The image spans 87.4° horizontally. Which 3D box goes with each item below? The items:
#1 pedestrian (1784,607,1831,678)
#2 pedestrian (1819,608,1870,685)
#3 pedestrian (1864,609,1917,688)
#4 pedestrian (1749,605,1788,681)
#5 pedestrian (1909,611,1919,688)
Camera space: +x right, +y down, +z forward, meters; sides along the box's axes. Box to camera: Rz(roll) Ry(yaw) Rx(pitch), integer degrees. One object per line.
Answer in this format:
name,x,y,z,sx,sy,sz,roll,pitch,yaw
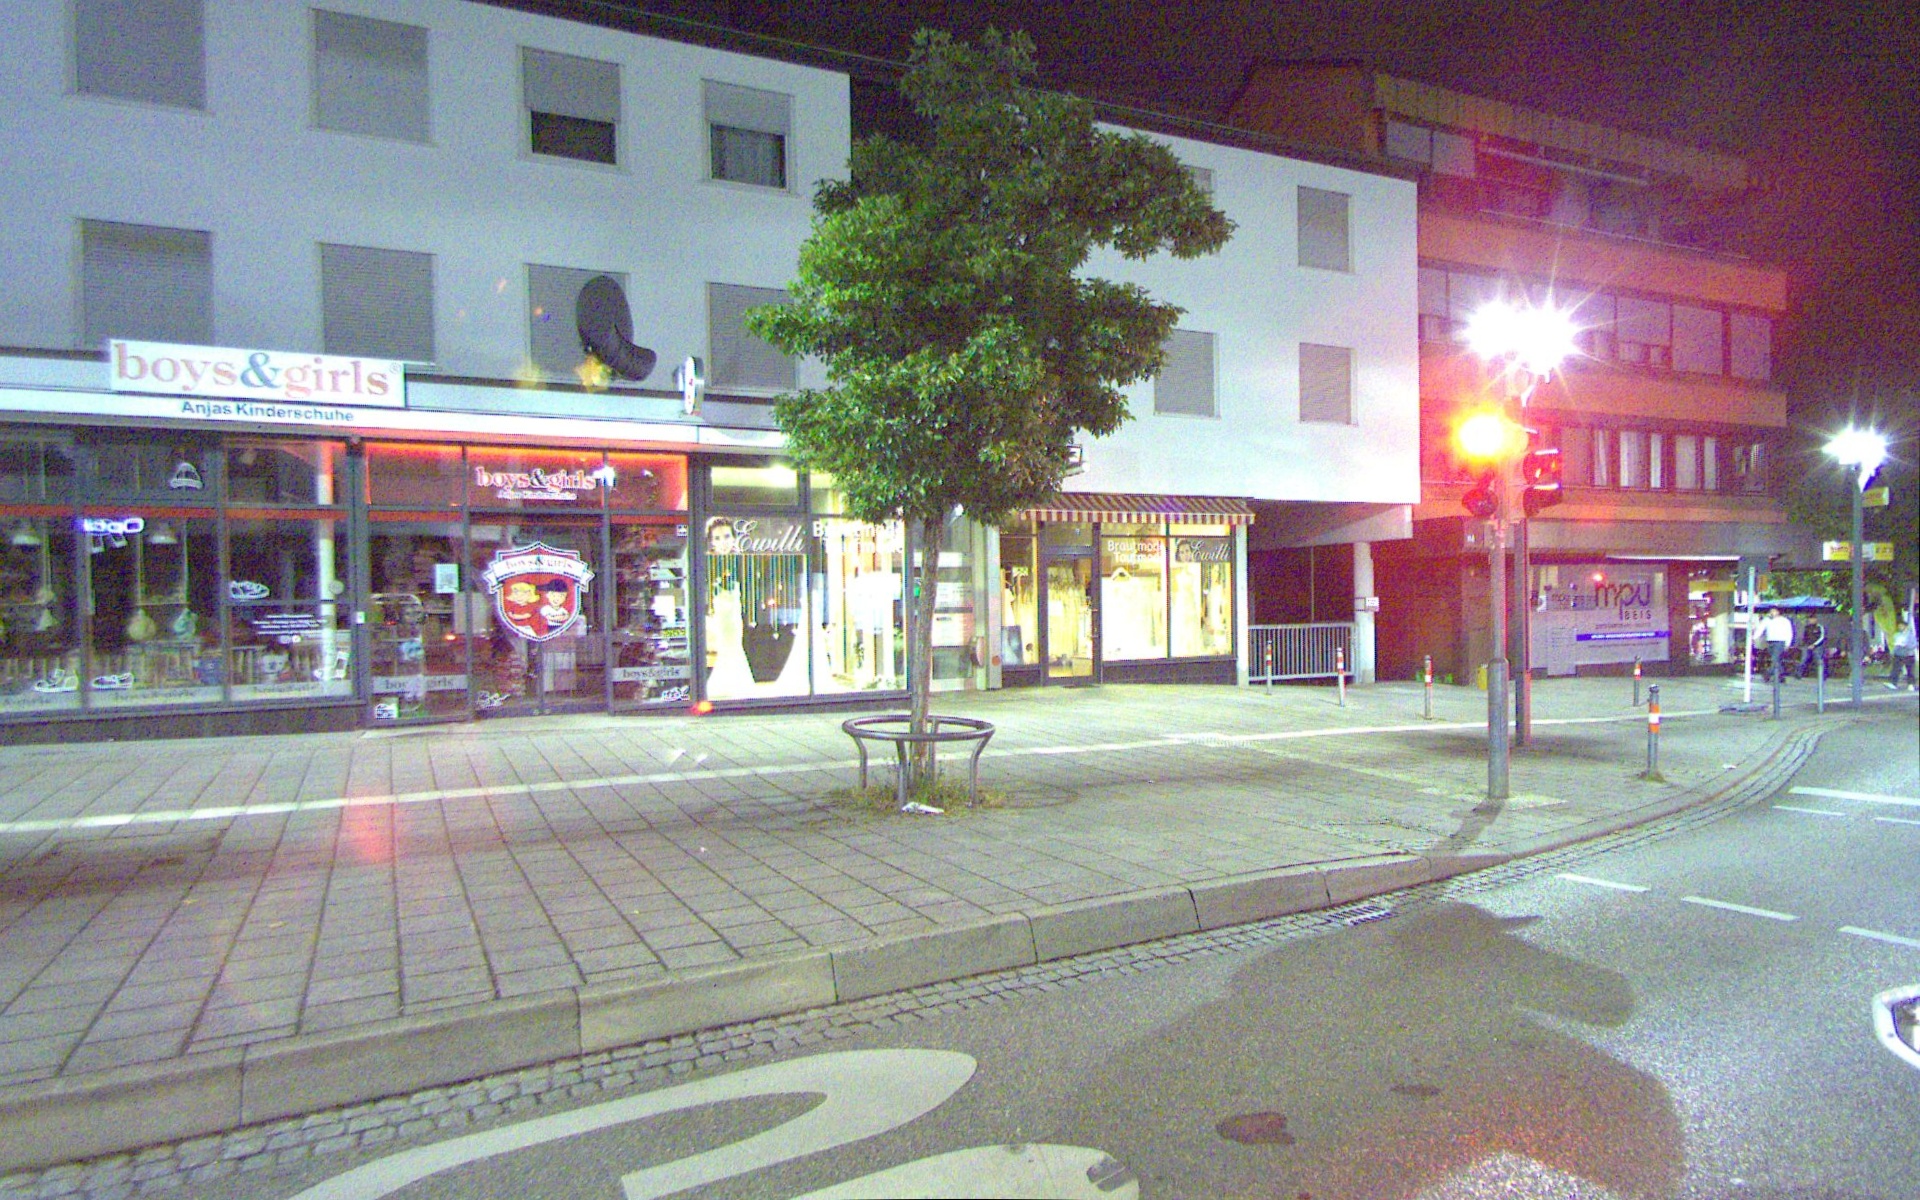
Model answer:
pedestrian,22.085,1.104,26.184,0.561,1.819,0.714,3,-1,-23
pedestrian,21.446,1.120,24.369,0.561,1.819,0.714,3,-1,-23
pedestrian,22.099,1.137,23.859,0.561,1.819,0.714,3,-1,-23
pedestrian,19.864,1.044,24.690,0.707,1.819,0.567,2,-1,39
pedestrian,22.877,1.176,23.439,0.723,1.819,0.718,2,-1,-3
